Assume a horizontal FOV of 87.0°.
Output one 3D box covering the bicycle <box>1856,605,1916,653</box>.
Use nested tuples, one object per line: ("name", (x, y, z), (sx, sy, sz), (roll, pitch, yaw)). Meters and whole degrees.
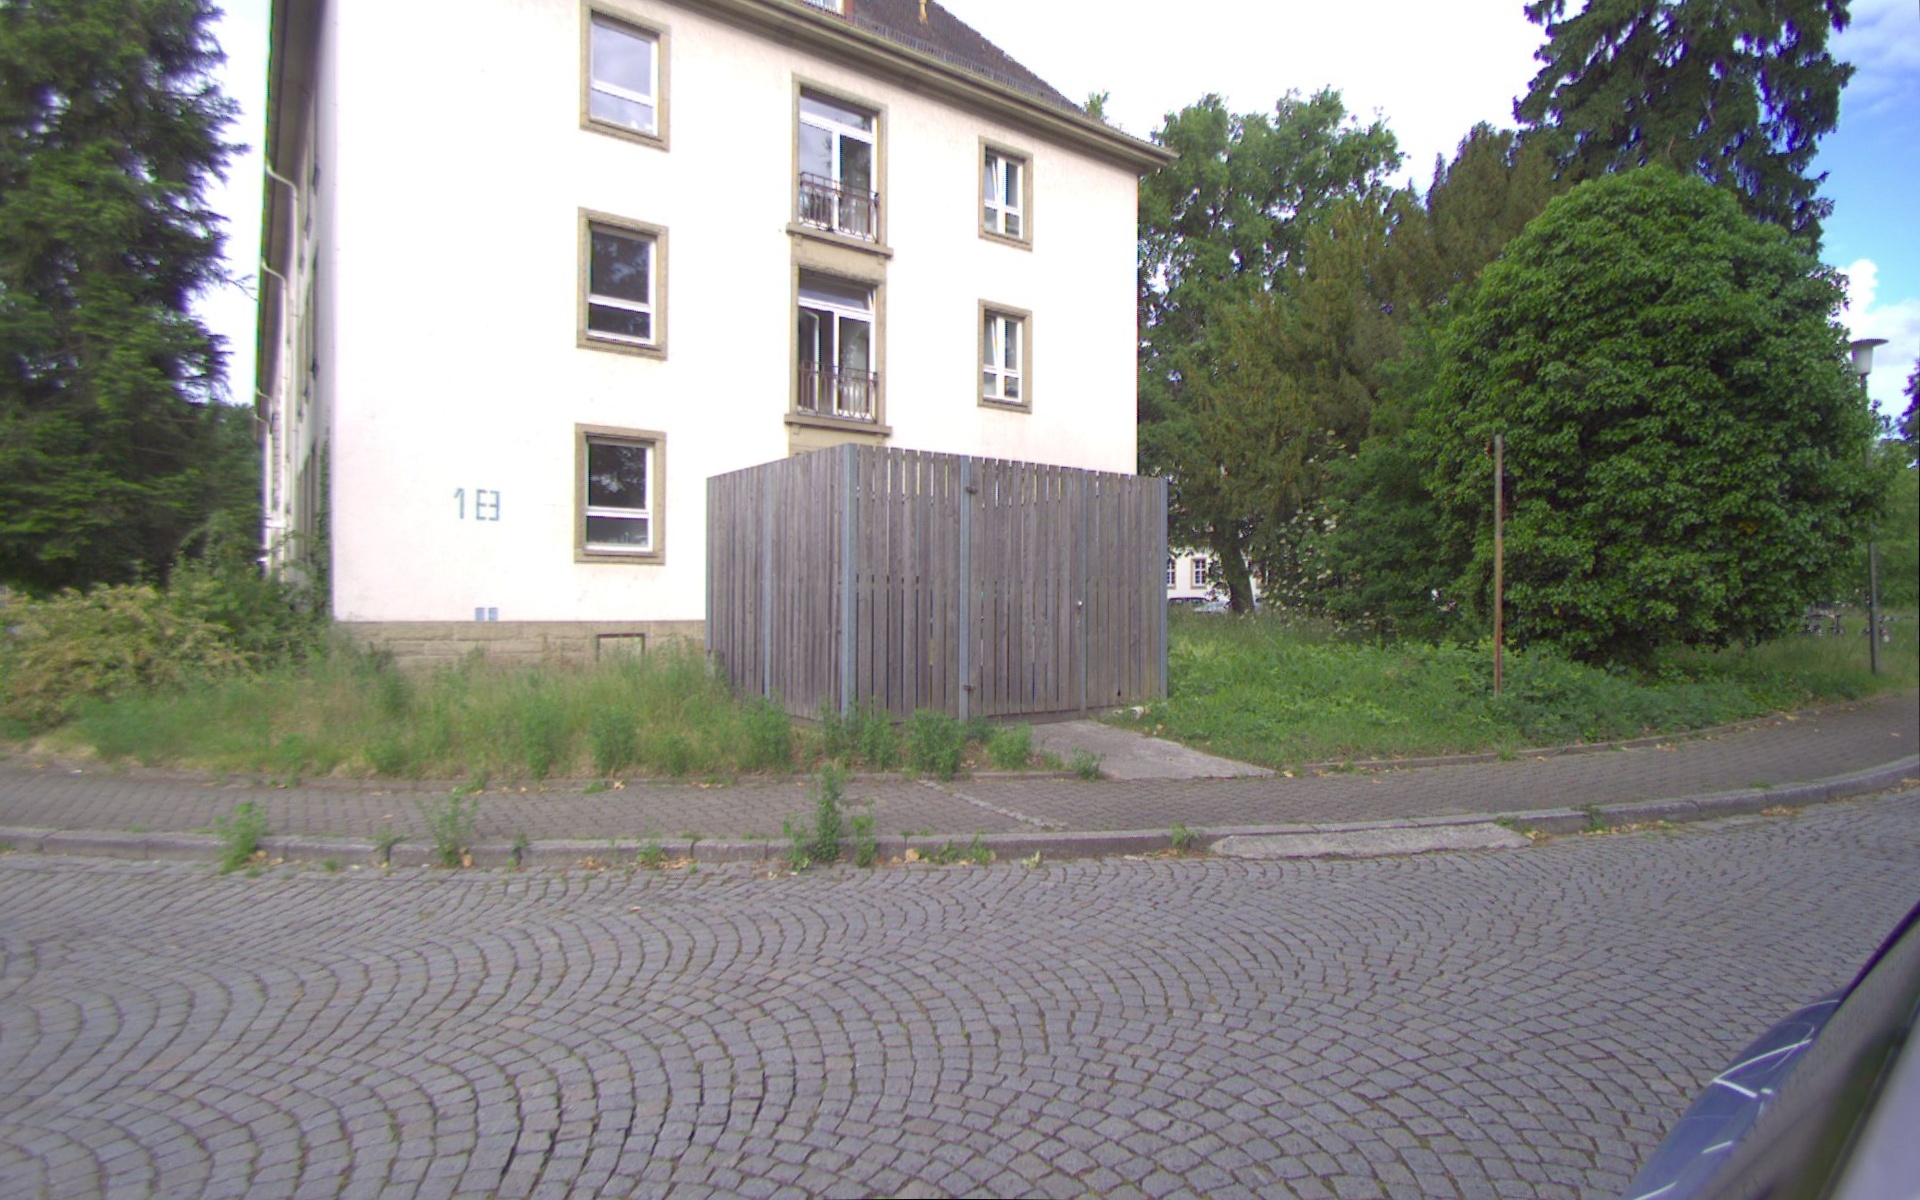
("bicycle", (22.078, 0.676, 24.160), (0.612, 1.078, 1.807), (0, 0, 28))

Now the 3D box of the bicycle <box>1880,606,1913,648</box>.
("bicycle", (24.742, 0.692, 26.751), (0.475, 1.020, 1.645), (-1, 1, 37))

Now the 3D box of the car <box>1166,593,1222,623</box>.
("car", (13.421, 0.427, 58.023), (3.188, 1.682, 1.439), (0, 0, -36))

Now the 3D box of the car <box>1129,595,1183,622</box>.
("car", (11.775, 0.501, 60.840), (3.188, 1.585, 1.384), (0, 0, -36))

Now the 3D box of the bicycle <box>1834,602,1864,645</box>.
("bicycle", (23.871, 0.607, 27.176), (0.475, 1.126, 1.741), (-1, 0, 37))

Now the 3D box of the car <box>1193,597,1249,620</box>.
("car", (14.467, 0.480, 55.974), (3.188, 1.233, 1.296), (0, 0, -36))

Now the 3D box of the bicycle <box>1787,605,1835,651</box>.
("bicycle", (20.945, 0.679, 24.935), (0.546, 1.078, 1.737), (0, 0, 28))

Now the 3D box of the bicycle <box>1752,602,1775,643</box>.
("bicycle", (22.539, 0.614, 28.402), (0.475, 1.126, 1.741), (-1, 0, 37))

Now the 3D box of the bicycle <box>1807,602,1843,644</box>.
("bicycle", (23.595, 0.611, 27.637), (0.474, 1.126, 1.745), (0, 0, 32))
